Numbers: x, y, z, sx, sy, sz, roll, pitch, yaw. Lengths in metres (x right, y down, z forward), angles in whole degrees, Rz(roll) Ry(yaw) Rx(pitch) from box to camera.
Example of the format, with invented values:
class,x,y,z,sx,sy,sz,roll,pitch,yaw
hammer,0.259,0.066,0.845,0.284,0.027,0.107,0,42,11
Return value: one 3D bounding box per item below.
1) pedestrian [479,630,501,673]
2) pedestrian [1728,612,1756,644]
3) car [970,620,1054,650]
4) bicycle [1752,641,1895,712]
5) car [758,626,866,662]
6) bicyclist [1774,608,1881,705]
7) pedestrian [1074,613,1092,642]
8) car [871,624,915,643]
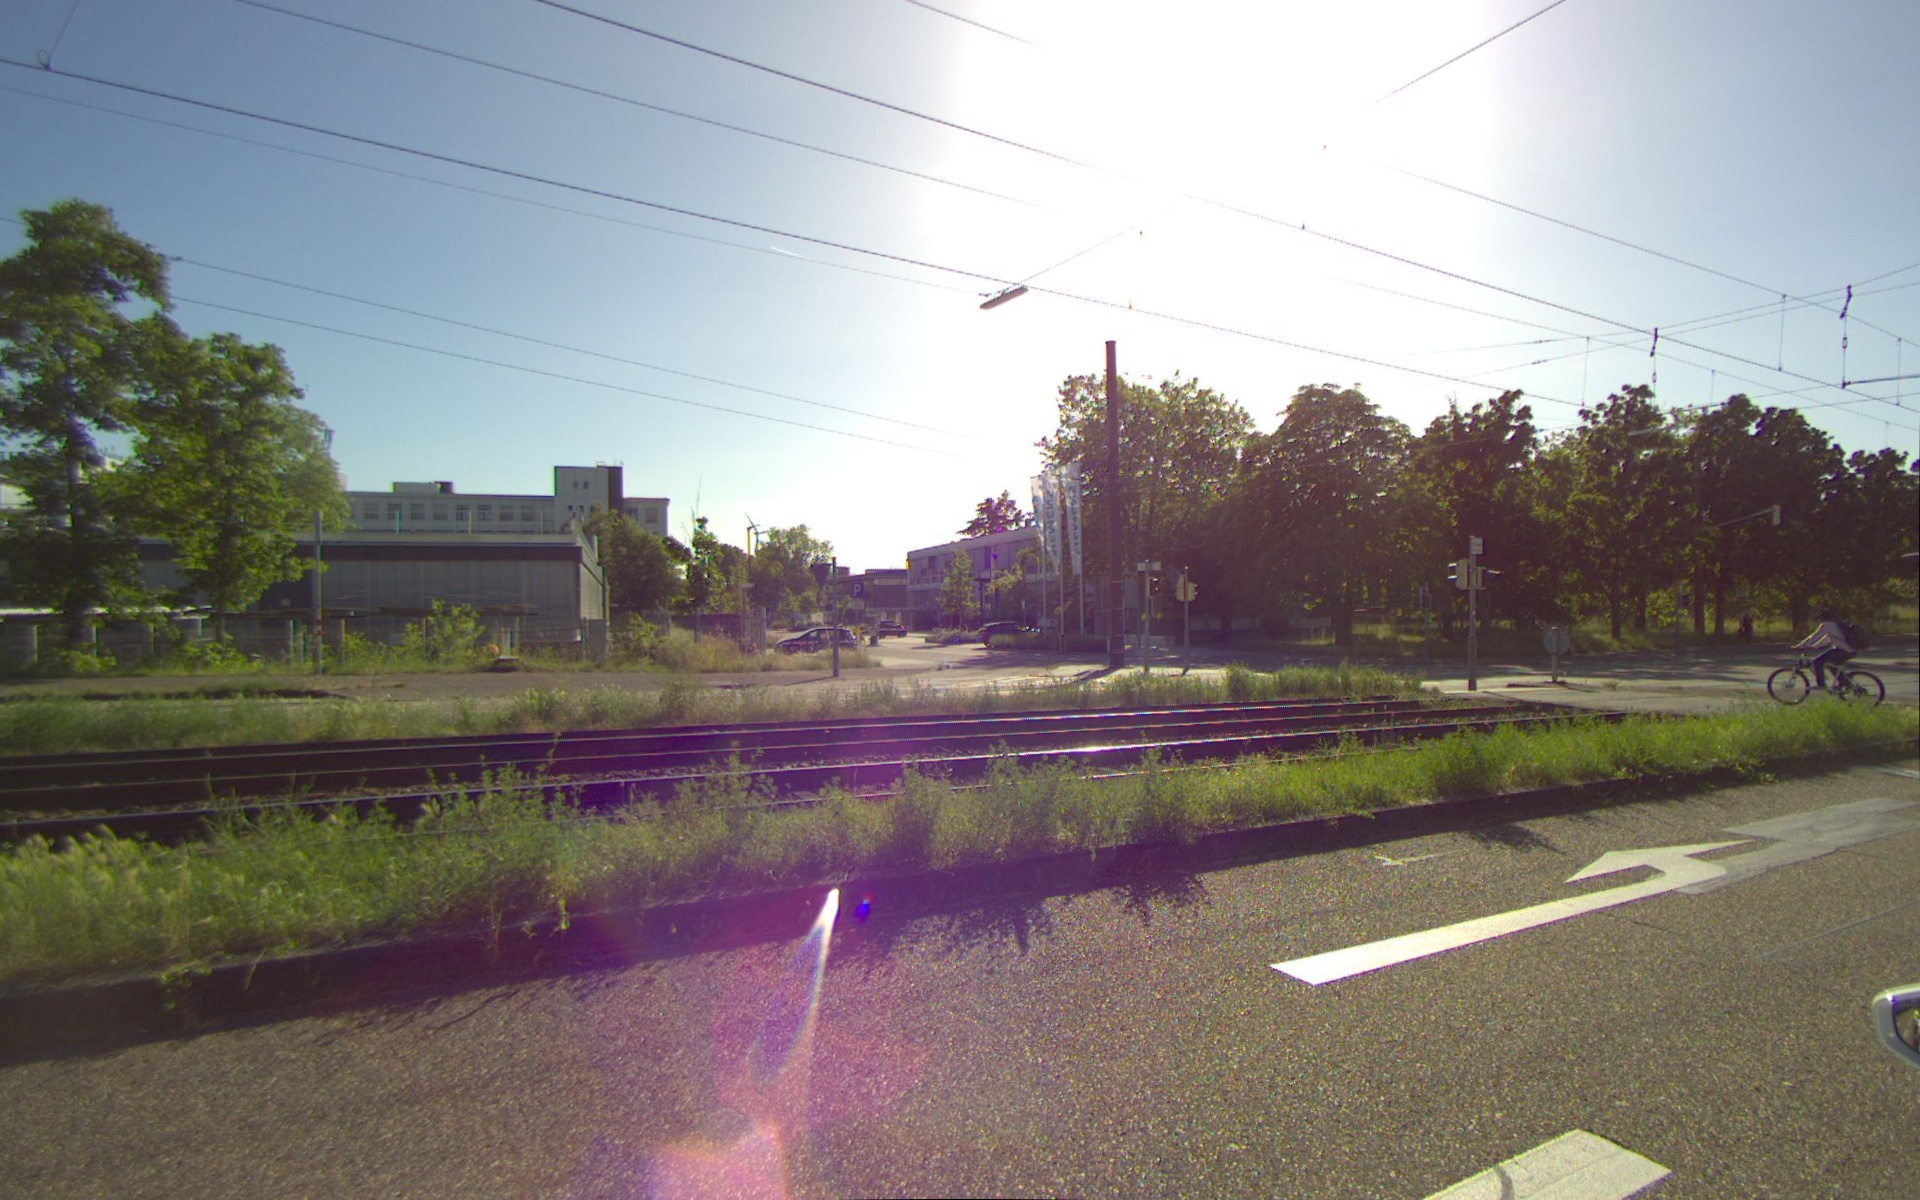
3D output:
class,x,y,z,sx,sy,sz,roll,pitch,yaw
pedestrian,-14.728,1.606,31.460,0.432,1.318,0.441,0,0,18
pedestrian,43.116,1.542,55.378,0.919,1.757,0.761,0,0,-2
car,3.208,2.134,61.720,4.768,1.751,2.041,1,0,-21
bicycle,15.080,1.307,17.598,0.690,1.117,1.769,1,0,-27
car,-7.672,2.255,51.926,5.210,1.772,2.164,1,0,-19
bicyclist,15.114,0.956,17.519,0.796,1.614,1.226,1,0,-31
pedestrian,7.666,1.715,62.452,0.807,1.811,0.950,0,0,-16
car,-5.977,3.004,89.656,3.566,1.611,1.792,1,0,-23
